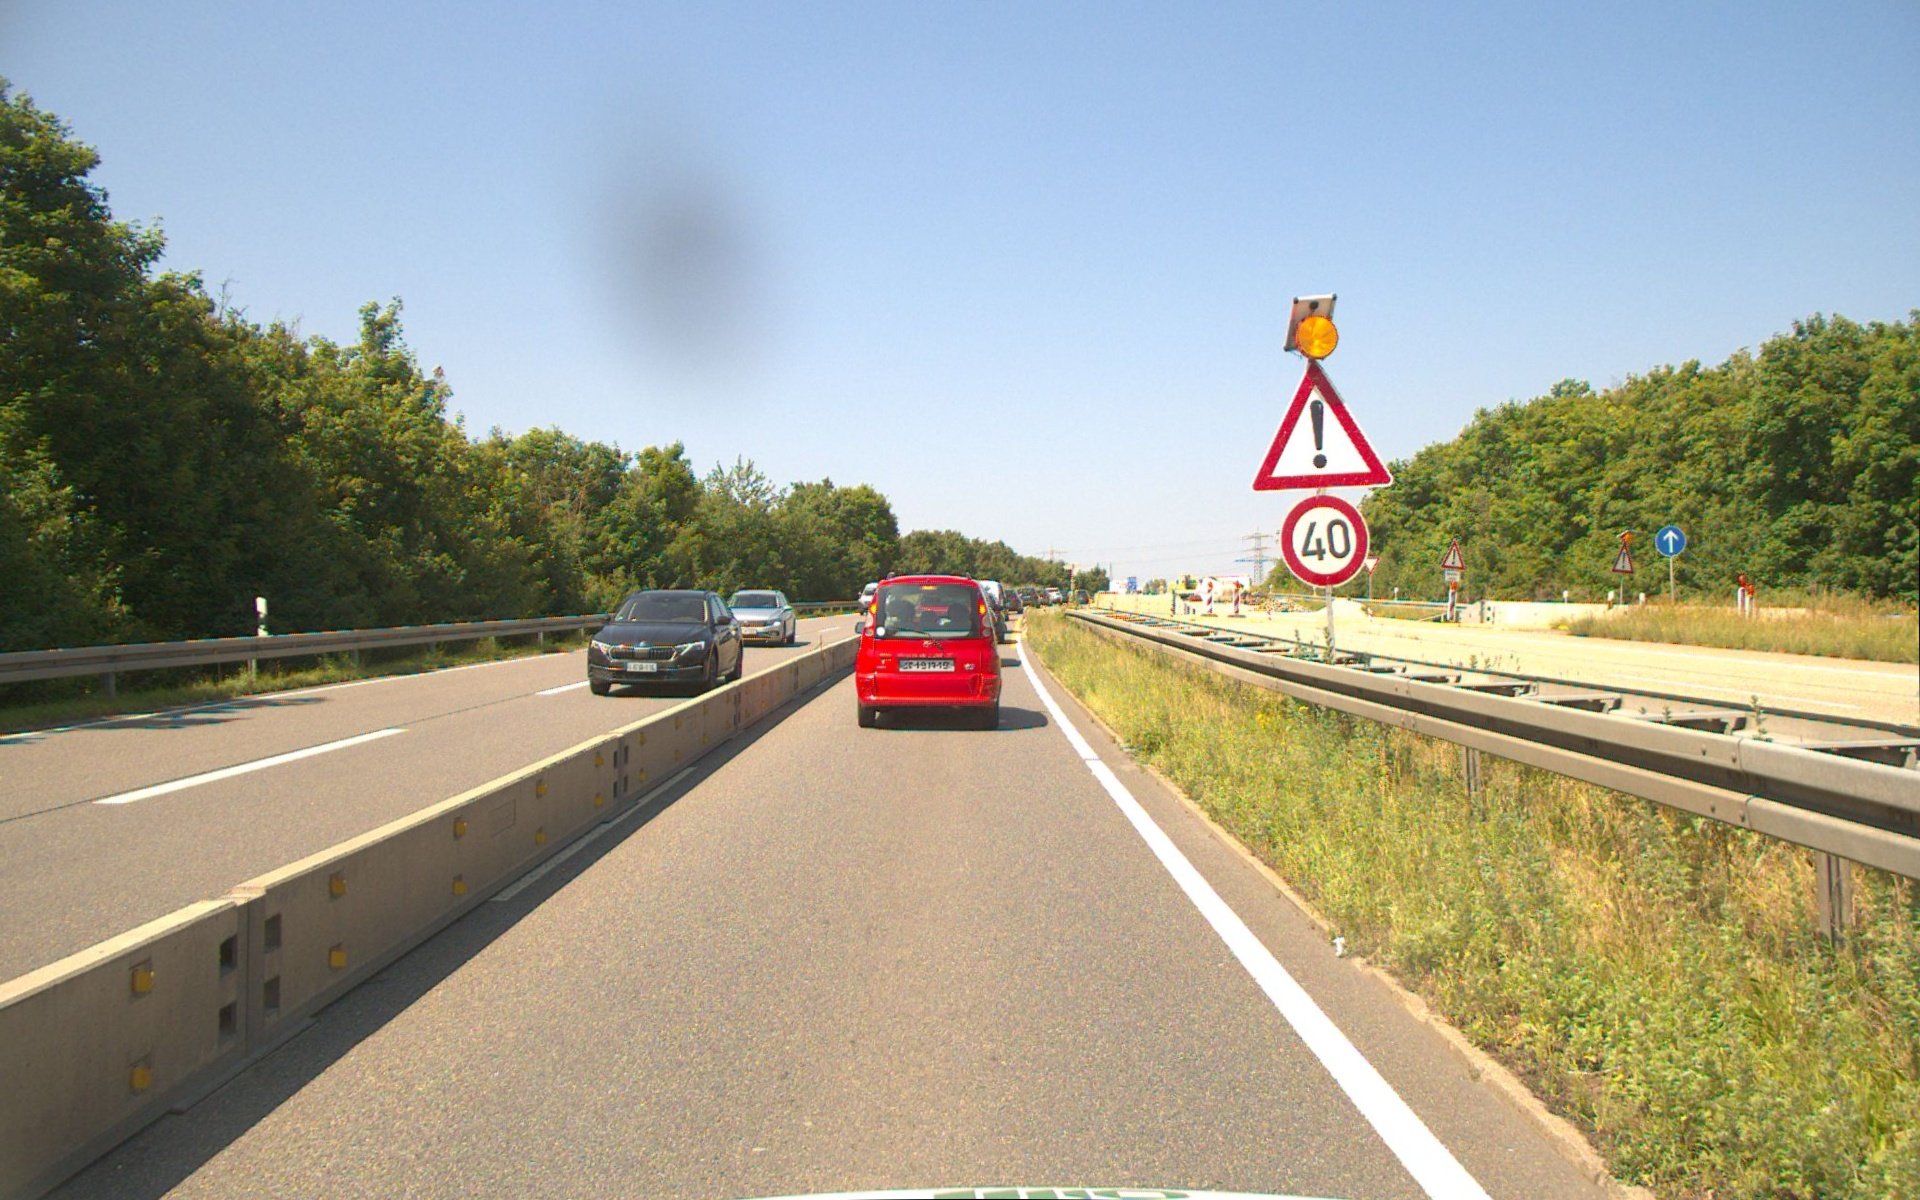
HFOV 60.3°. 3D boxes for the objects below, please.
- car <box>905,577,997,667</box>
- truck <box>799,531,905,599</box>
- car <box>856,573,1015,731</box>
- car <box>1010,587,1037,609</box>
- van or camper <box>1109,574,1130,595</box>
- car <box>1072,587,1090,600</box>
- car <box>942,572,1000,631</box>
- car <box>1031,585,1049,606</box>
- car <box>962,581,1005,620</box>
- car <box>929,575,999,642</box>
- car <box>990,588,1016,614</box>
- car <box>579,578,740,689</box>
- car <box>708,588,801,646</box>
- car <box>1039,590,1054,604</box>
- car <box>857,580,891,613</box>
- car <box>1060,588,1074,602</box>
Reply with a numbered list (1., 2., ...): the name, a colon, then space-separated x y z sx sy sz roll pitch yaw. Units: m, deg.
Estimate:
1. car: -0.129 0.421 34.371 1.792 1.752 4.001 0 0 1
2. truck: -9.082 -2.951 139.502 8.440 5.469 3.390 -1 0 2
3. car: -0.282 0.559 19.839 1.716 1.702 3.999 0 0 -1
4. car: 4.743 -0.184 123.434 1.952 1.612 4.001 0 0 3
5. van or camper: 21.224 -2.045 219.741 2.281 2.754 4.592 -1 0 -1
6. car: 14.231 -0.772 194.519 1.952 1.579 4.000 0 0 1
7. car: 0.358 0.054 60.118 1.953 2.038 3.999 1 0 -2
8. car: 6.701 -0.404 139.172 1.471 1.767 3.170 0 0 1
9. car: 1.100 0.017 77.875 1.952 1.780 4.000 0 0 0
10. car: 0.145 0.221 48.100 1.952 1.870 4.001 0 0 1
11. car: 2.549 0.048 98.524 1.471 1.476 3.325 0 0 1
12. car: -4.397 0.451 24.804 1.785 1.508 4.254 0 0 -2
13. car: -5.445 0.421 44.286 1.909 1.446 4.353 -1 0 0
14. car: 8.122 -0.277 154.689 1.391 1.321 2.880 0 0 3
15. car: -4.906 -0.199 94.950 1.720 1.795 4.283 -1 0 -1
16. car: 11.051 -0.508 171.019 1.470 1.476 3.171 0 0 3
